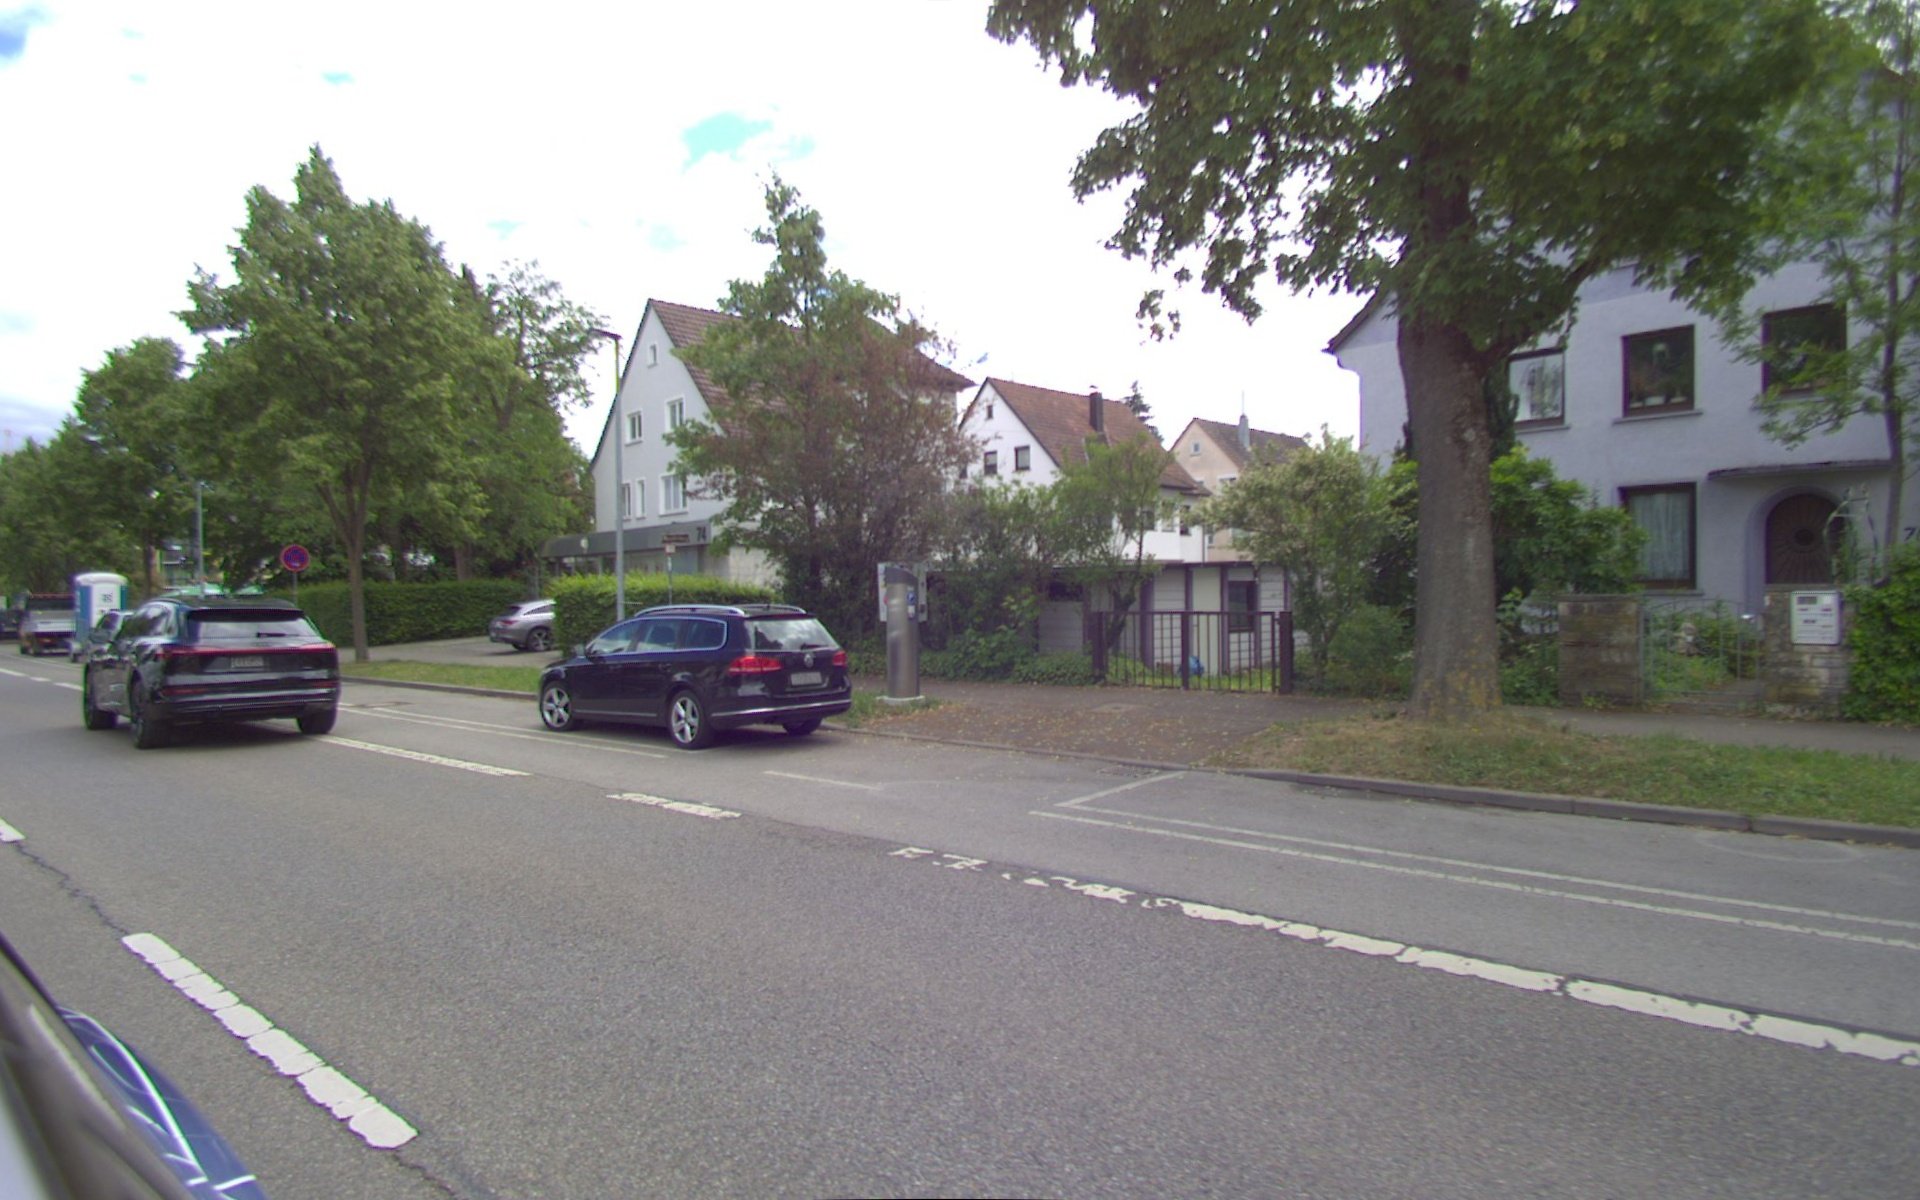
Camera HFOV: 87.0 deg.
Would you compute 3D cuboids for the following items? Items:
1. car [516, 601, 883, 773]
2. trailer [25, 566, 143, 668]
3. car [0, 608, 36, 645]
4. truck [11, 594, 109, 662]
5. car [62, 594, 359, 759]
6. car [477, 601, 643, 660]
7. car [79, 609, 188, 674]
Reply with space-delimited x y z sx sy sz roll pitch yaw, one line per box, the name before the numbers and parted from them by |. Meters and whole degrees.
car | -3.211 0.845 11.947 4.615 1.564 1.842 1 1 39
trailer | -28.681 0.537 33.037 7.012 2.985 2.345 -1 -1 44
car | -49.797 1.374 53.096 4.400 1.888 1.688 -1 0 44
truck | -33.555 0.993 37.666 6.465 2.304 2.269 -1 -1 44
car | -9.429 0.834 12.591 4.586 1.680 1.973 -1 -2 41
car | -11.438 0.831 29.061 4.031 1.444 1.802 -3 1 -43
car | -23.600 1.120 28.848 4.222 1.696 1.672 0 0 40
